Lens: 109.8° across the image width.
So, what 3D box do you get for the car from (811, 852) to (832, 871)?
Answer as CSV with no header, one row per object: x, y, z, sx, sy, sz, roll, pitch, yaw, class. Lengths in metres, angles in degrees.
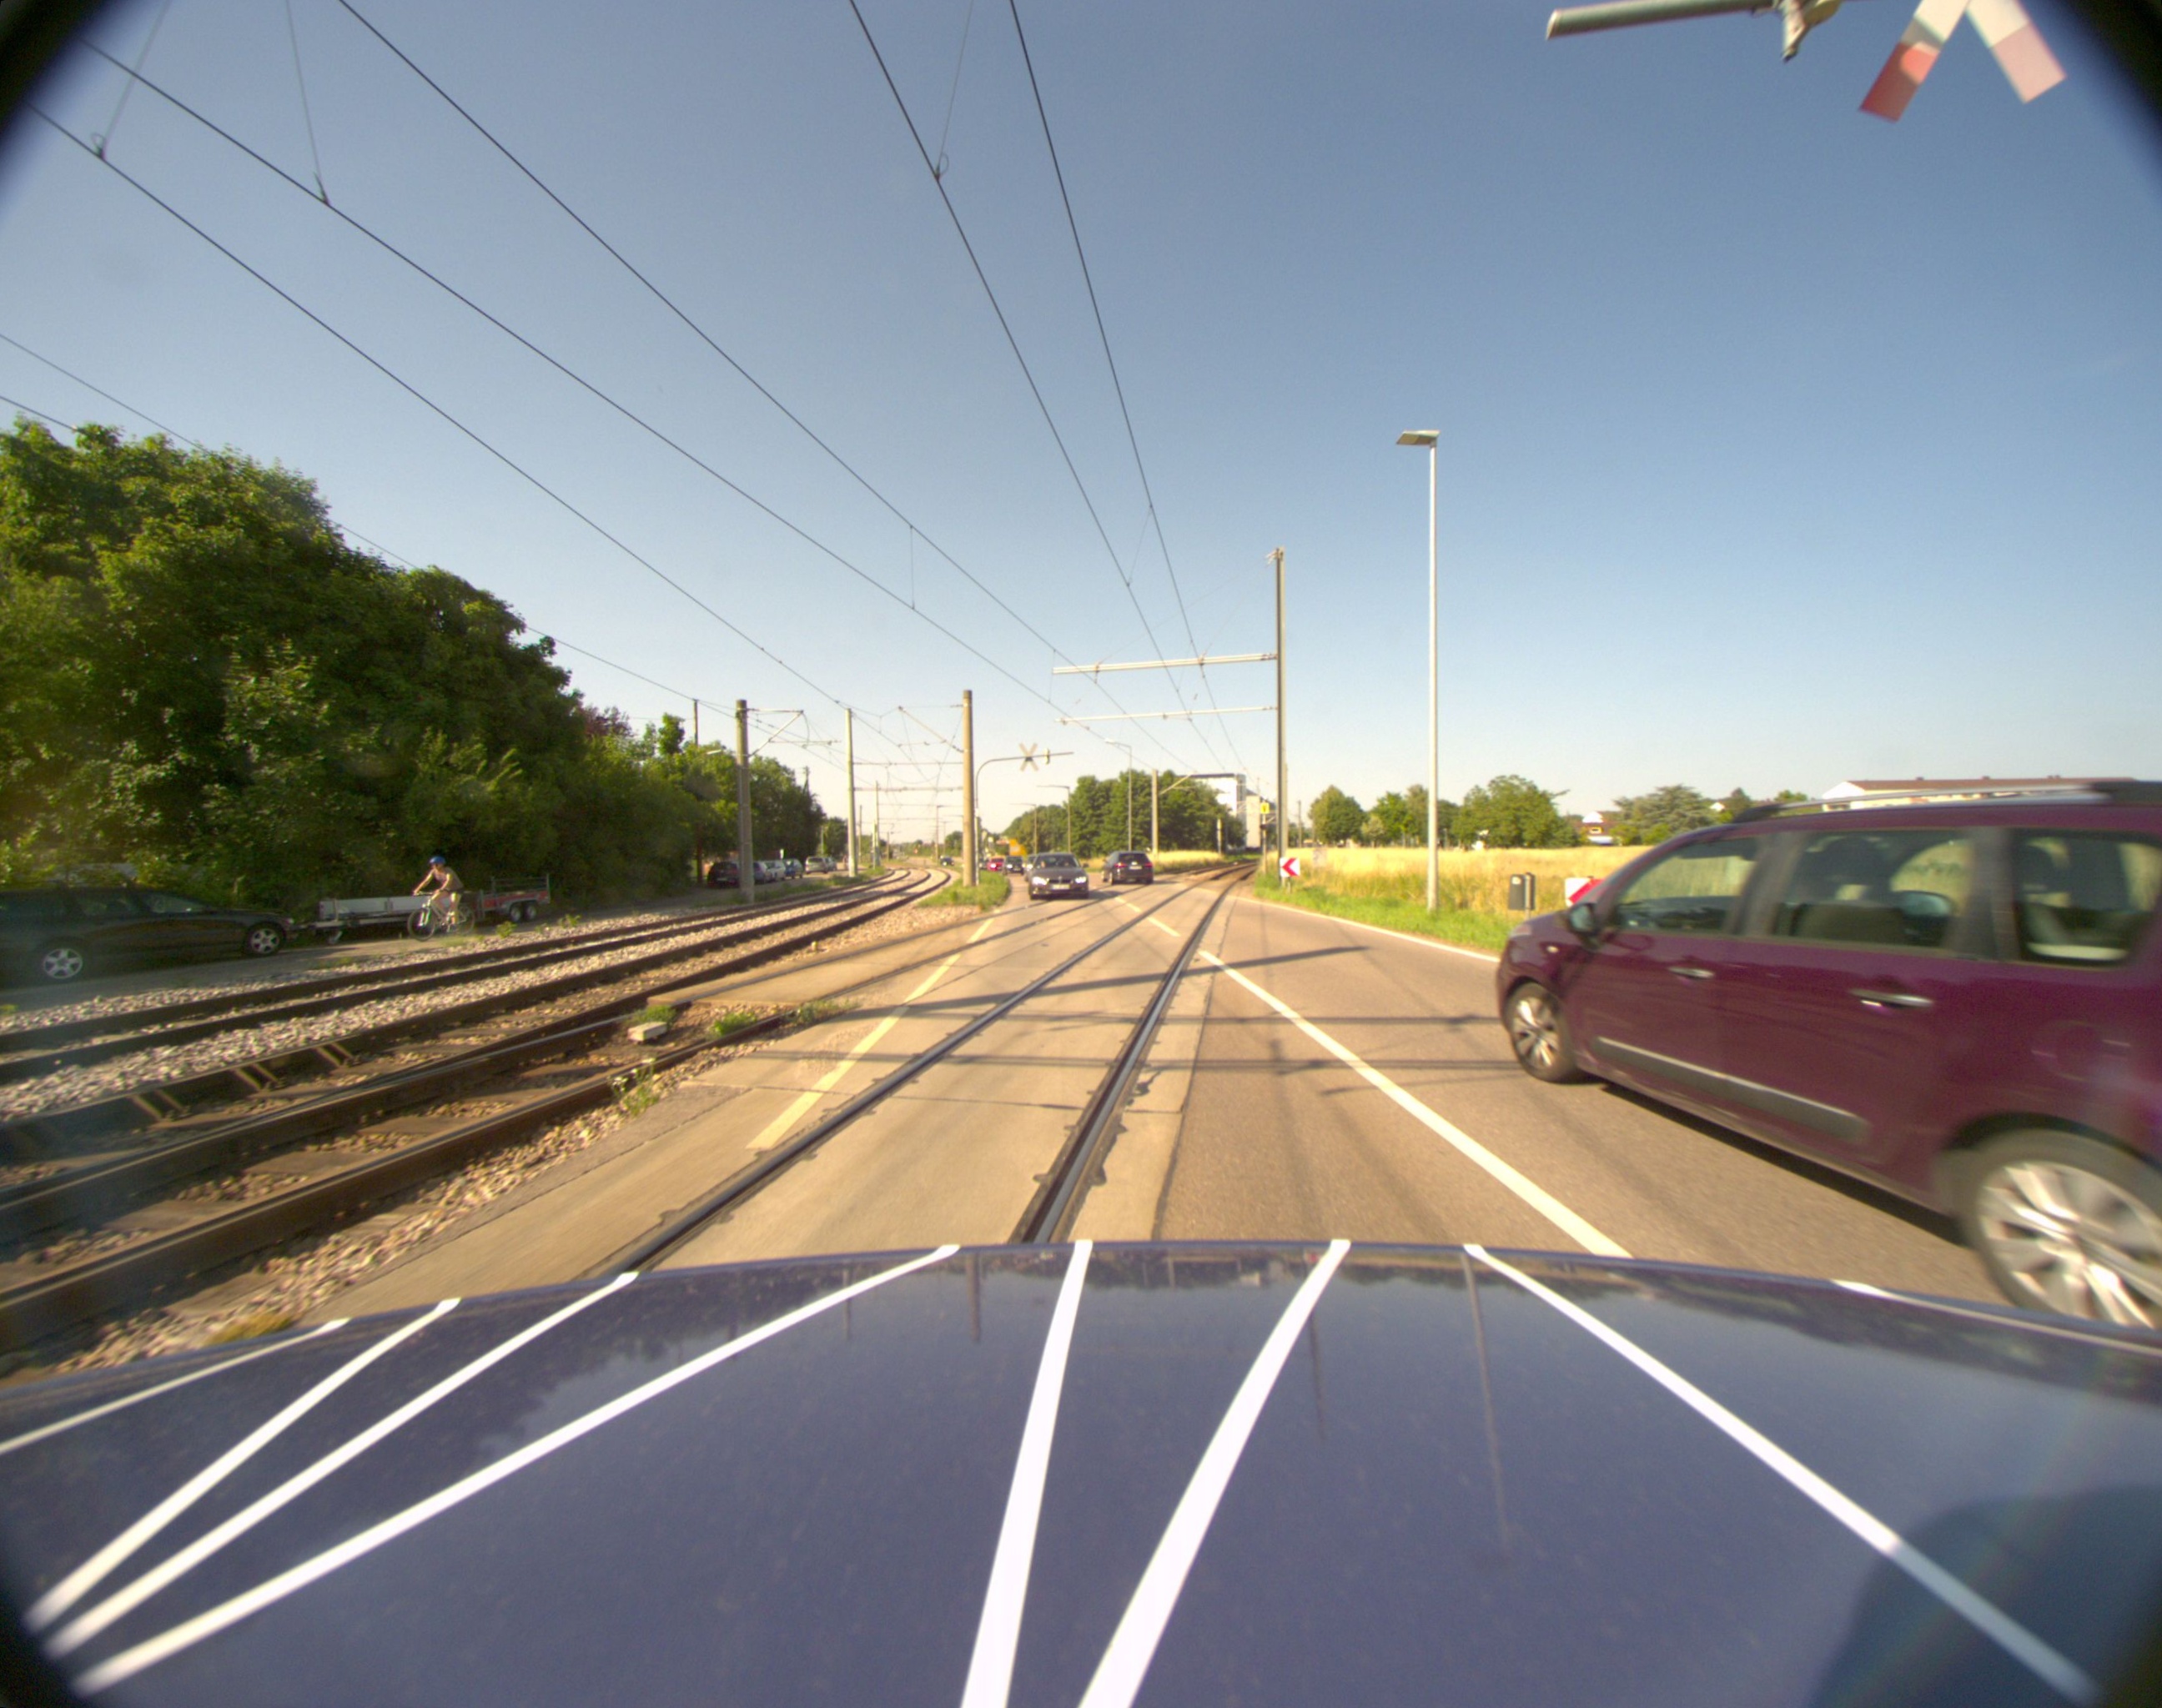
-23.816,0.666,69.822,1.528,1.601,4.478,-1,0,-15,car

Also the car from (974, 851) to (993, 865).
-11.404,0.502,88.923,1.609,1.504,4.262,-3,1,-15,car

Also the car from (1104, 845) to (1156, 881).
2.074,0.346,33.297,1.698,1.431,4.281,-2,1,-4,car

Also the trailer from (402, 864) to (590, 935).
-16.295,1.179,21.503,2.032,1.587,4.258,-4,1,-3,trailer

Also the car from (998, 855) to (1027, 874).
-5.581,0.830,61.653,1.849,1.347,4.150,-3,1,-11,car

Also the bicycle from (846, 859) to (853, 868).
-24.648,0.972,80.981,0.645,0.904,1.811,-2,1,-15,bicycle

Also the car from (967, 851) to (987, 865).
-13.340,0.493,97.408,1.970,1.609,4.302,-2,1,-16,car

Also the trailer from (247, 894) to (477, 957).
-16.235,1.563,17.466,1.736,0.934,3.727,-4,1,-2,trailer

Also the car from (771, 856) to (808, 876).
-22.169,0.902,57.959,1.683,1.422,3.909,-3,0,-7,car

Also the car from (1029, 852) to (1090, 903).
-0.690,0.692,24.229,1.748,1.444,3.946,-1,0,-2,car

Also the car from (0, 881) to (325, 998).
-15.874,1.323,12.579,1.703,1.448,4.880,-4,0,0,car

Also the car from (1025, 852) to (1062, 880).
-2.156,0.644,42.289,1.711,1.444,4.587,-2,0,-6,car

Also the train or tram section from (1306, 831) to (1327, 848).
57.838,-3.521,186.442,2.909,3.549,14.278,-2,2,25,train or tram section

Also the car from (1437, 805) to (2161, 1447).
3.610,0.664,3.534,1.711,1.656,4.589,-2,1,0,car

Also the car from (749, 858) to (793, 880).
-21.180,0.996,52.058,1.715,1.457,4.386,-1,0,-8,car

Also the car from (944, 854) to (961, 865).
-19.579,0.881,115.829,1.839,1.504,4.146,-3,1,-18,car

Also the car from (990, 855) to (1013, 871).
-8.237,0.896,78.415,1.849,1.587,3.734,-3,1,-12,car

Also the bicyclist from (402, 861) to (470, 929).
-14.178,0.886,16.722,0.631,1.414,0.962,-2,1,-4,bicyclist

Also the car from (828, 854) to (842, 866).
-30.270,0.693,93.533,1.540,1.440,4.125,-1,0,-17,car

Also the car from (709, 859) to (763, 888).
-19.166,1.048,42.413,1.628,1.402,4.517,-3,1,-11,car

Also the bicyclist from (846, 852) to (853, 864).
-24.662,0.420,80.947,0.641,1.226,0.790,-2,1,-15,bicyclist

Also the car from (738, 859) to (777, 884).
-20.044,1.054,47.241,1.490,1.393,4.145,-1,1,-13,car

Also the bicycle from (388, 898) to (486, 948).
-14.166,1.484,16.783,0.644,0.904,1.843,-2,1,-4,bicycle
